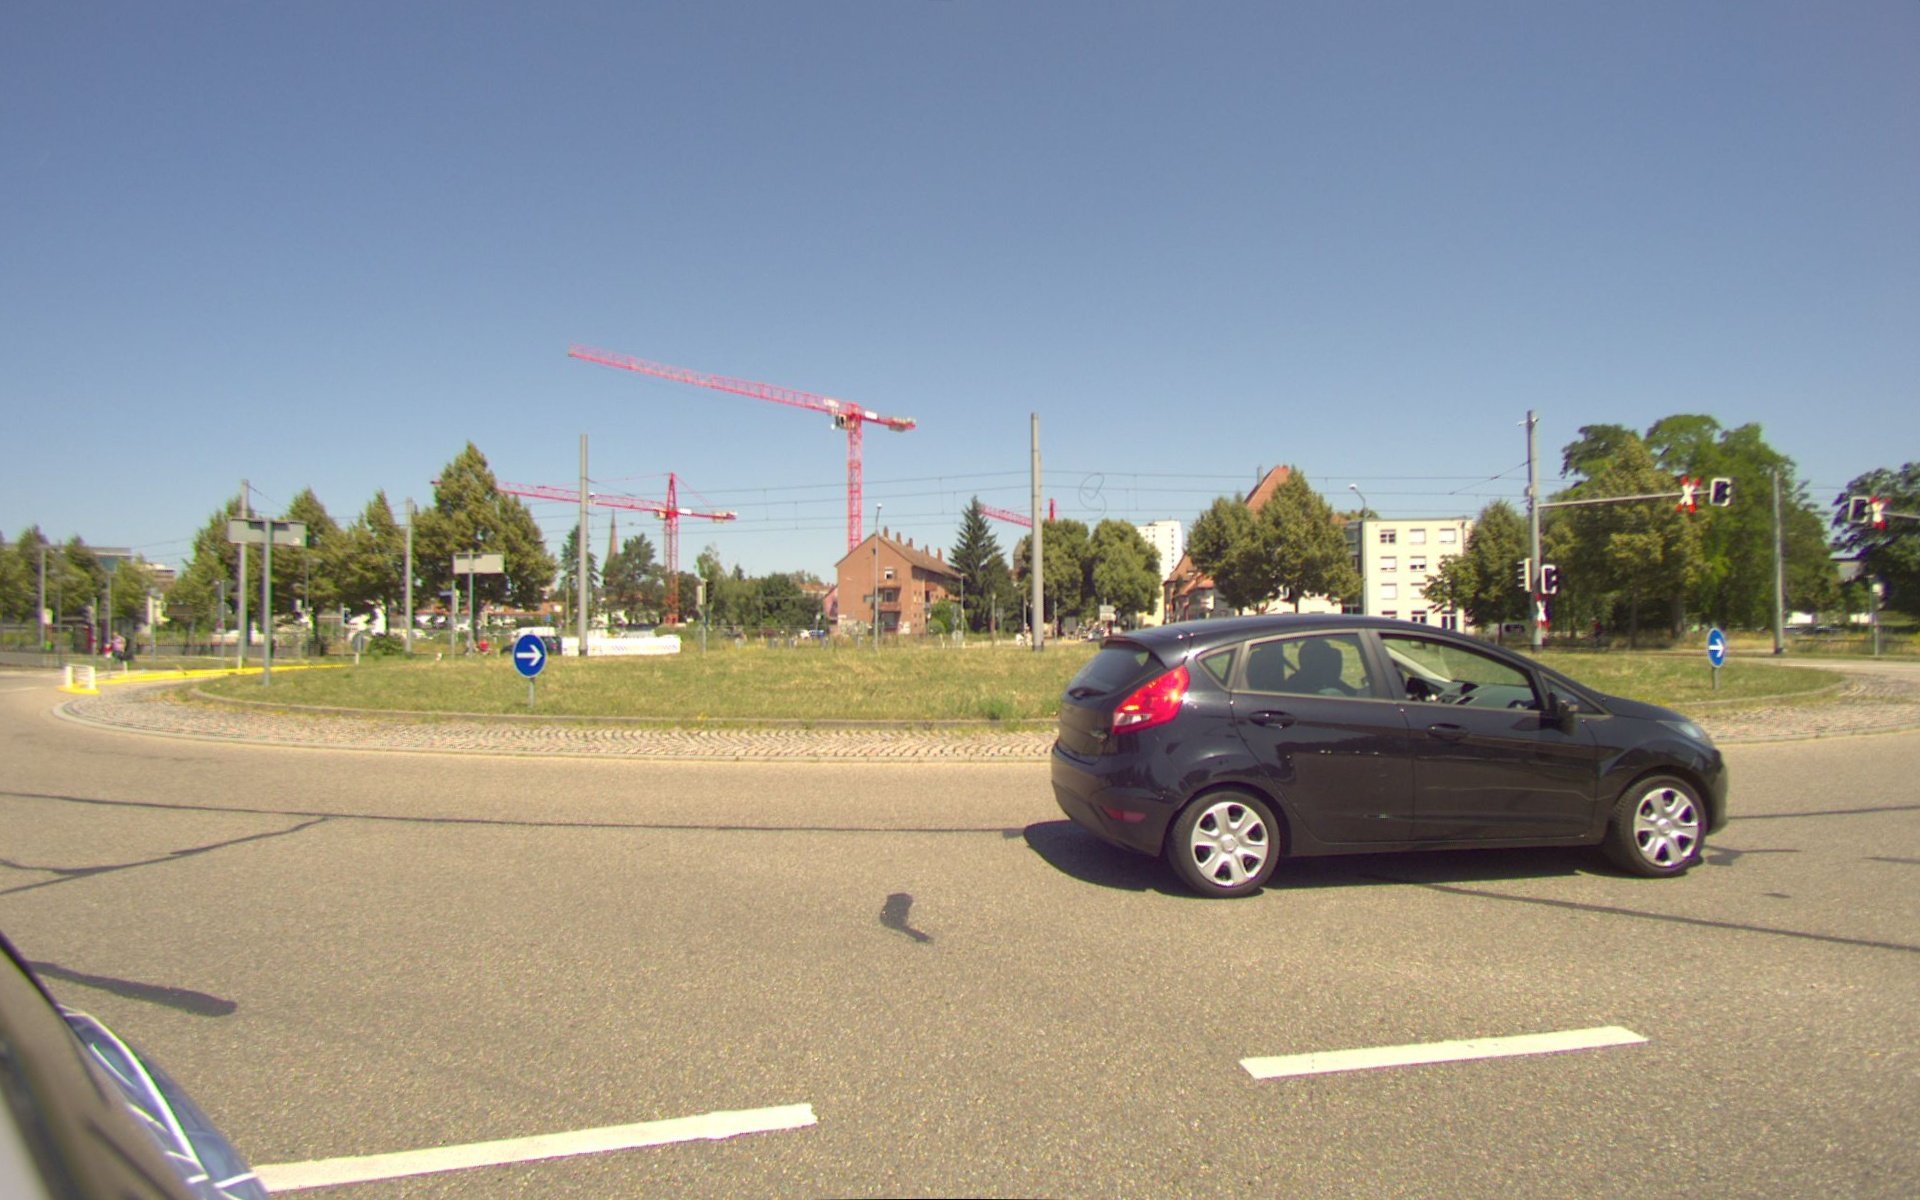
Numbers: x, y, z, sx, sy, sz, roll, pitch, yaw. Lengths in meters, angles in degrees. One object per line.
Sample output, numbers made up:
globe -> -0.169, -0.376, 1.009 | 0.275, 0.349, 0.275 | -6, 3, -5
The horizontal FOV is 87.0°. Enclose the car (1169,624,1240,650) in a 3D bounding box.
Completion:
car -> 13.990, 2.085, 57.896 | 3.647, 1.413, 1.813 | 0, -1, 30

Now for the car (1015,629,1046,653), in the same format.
car -> 6.291, 3.619, 90.129 | 1.981, 2.029, 3.980 | 1, -2, 15

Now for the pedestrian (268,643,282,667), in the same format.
pedestrian -> -41.051, 3.309, 60.633 | 0.543, 1.417, 0.590 | -2, -2, 38

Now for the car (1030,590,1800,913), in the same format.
car -> 2.425, 0.721, 5.900 | 3.759, 1.519, 1.636 | -1, 0, -7

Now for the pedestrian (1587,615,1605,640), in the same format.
pedestrian -> 36.975, 1.588, 58.840 | 0.818, 1.461, 0.700 | 0, -2, 41

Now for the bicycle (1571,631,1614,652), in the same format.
bicycle -> 36.808, 2.411, 58.932 | 2.058, 1.123, 0.719 | 0, -2, 42

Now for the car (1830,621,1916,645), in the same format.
car -> 63.679, 2.283, 70.665 | 1.965, 1.586, 4.013 | 2, -2, -26

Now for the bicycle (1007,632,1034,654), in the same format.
bicycle -> 4.770, 3.396, 79.831 | 2.053, 1.697, 0.561 | 1, -2, -8

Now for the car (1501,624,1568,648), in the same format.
car -> 43.191, 2.679, 76.170 | 3.964, 1.697, 1.990 | 1, -2, 16

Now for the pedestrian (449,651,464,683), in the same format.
pedestrian -> -32.993, 4.402, 66.311 | 0.600, 2.029, 0.589 | 0, -2, 28

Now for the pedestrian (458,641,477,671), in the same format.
pedestrian -> -31.830, 3.632, 65.424 | 0.731, 1.913, 0.804 | 0, -2, 40

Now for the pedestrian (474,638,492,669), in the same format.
pedestrian -> -31.159, 3.483, 66.119 | 0.731, 2.029, 0.736 | 0, -2, 40

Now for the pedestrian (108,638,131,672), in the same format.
pedestrian -> -42.783, 2.795, 51.528 | 0.781, 1.652, 0.750 | 0, -2, 40

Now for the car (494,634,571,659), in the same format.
car -> -26.469, 2.869, 62.721 | 3.941, 1.475, 2.001 | 1, -2, -2

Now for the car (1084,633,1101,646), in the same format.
car -> 15.576, 4.661, 118.890 | 1.697, 1.431, 3.888 | 1, -2, 10
